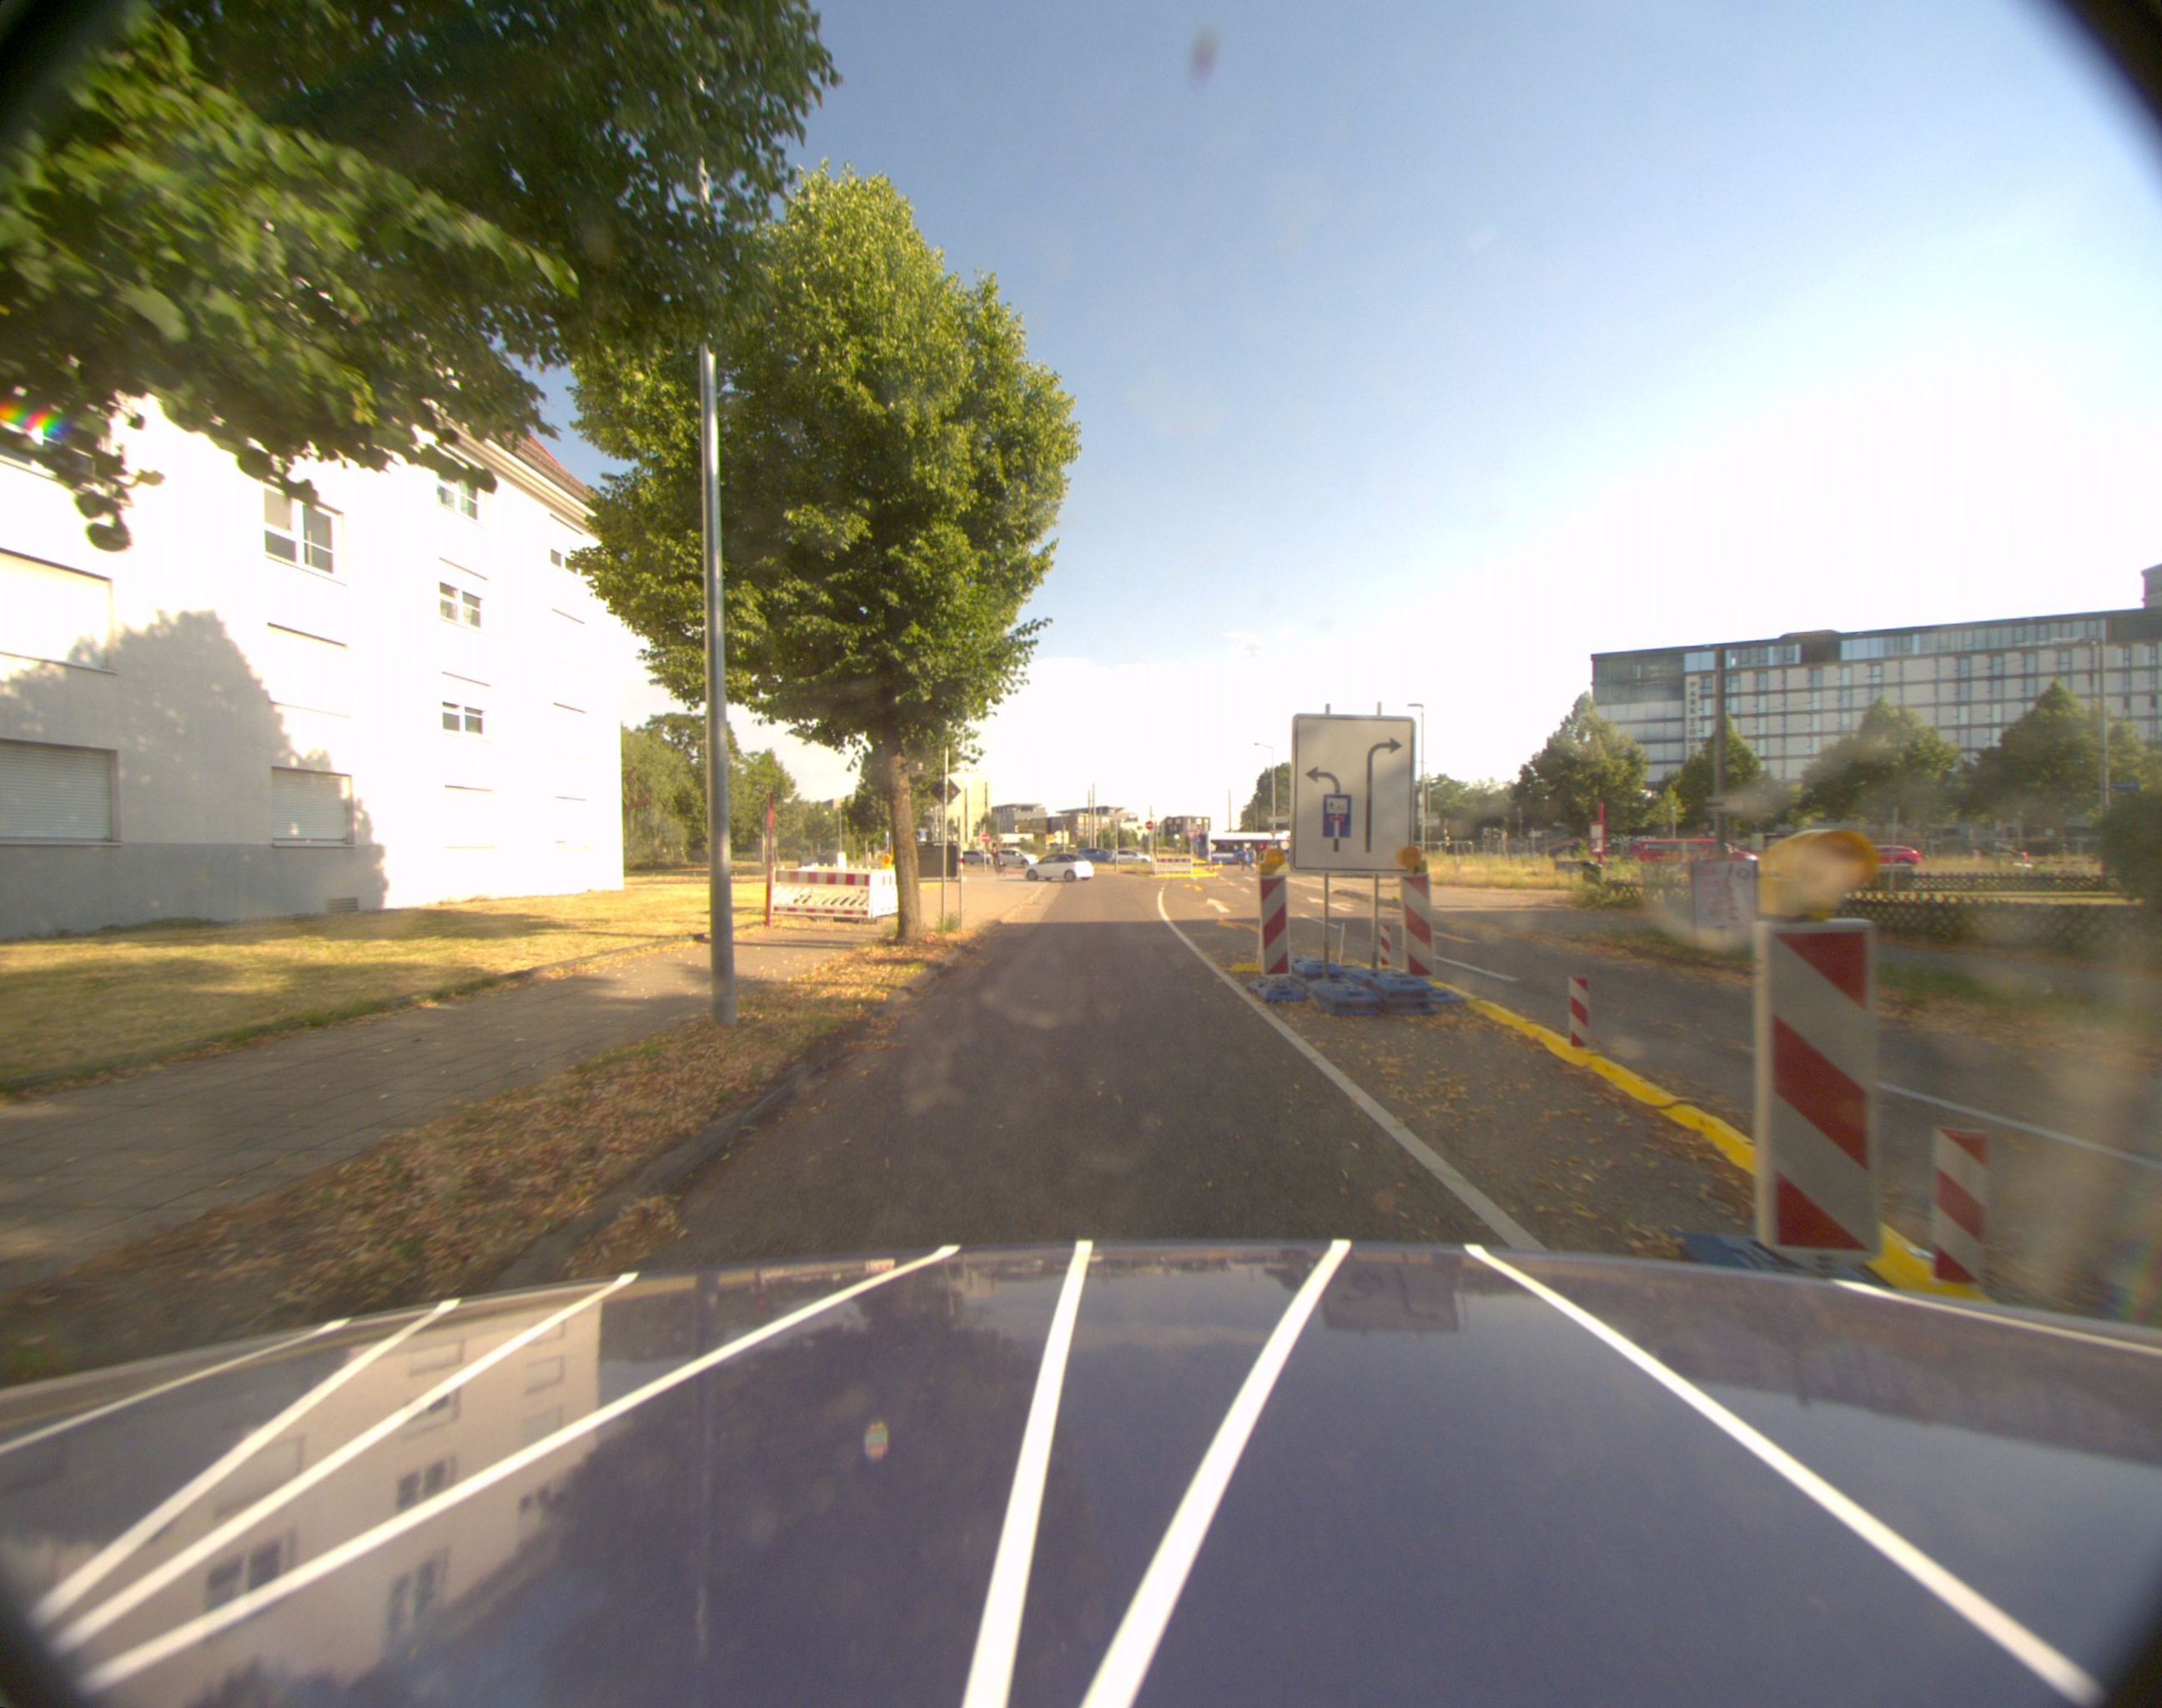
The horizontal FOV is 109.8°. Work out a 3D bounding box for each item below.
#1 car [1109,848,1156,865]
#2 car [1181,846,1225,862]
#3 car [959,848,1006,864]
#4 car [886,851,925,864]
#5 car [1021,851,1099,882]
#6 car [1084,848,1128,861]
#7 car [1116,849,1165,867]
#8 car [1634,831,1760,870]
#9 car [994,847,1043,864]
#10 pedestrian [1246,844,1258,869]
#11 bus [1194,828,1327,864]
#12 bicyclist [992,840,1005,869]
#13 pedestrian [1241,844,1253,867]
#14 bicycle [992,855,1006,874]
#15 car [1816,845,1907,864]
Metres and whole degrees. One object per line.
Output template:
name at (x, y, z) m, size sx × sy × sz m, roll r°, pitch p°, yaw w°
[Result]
car at (4.561, 0.193, 67.853) m, size 3.998 × 1.477 × 1.842 m, roll 0°, pitch 1°, yaw -3°
car at (12.103, -0.012, 75.491) m, size 4.003 × 1.521 × 1.775 m, roll 0°, pitch 1°, yaw -17°
car at (-9.707, 0.218, 74.637) m, size 4.255 × 1.521 × 2.004 m, roll 0°, pitch 1°, yaw 31°
car at (-18.749, 0.370, 80.992) m, size 2.099 × 1.376 × 4.576 m, roll -2°, pitch 1°, yaw -42°
car at (-1.114, 0.654, 40.027) m, size 3.615 × 1.413 × 1.767 m, roll -3°, pitch 0°, yaw 30°
car at (2.380, 0.077, 71.534) m, size 3.995 × 1.171 × 1.645 m, roll 0°, pitch 1°, yaw 5°
car at (5.006, 0.311, 64.477) m, size 3.997 × 1.515 × 2.000 m, roll 0°, pitch 1°, yaw 0°
car at (33.810, -0.210, 41.889) m, size 5.297 × 2.002 × 2.004 m, roll 0°, pitch 1°, yaw 39°
car at (-5.636, 0.146, 68.635) m, size 4.040 × 1.542 × 1.914 m, roll 0°, pitch 1°, yaw 16°
pedestrian at (12.412, 0.175, 55.071) m, size 0.771 × 1.765 × 0.760 m, roll 0°, pitch 1°, yaw 7°
bus at (16.574, -0.792, 70.027) m, size 12.186 × 3.044 × 2.662 m, roll -1°, pitch 1°, yaw -16°
bicyclist at (-5.167, 0.028, 47.758) m, size 0.728 × 1.790 × 0.937 m, roll -1°, pitch 1°, yaw -11°
pedestrian at (12.223, 0.128, 55.983) m, size 0.811 × 1.699 × 0.786 m, roll 0°, pitch 1°, yaw 9°
bicycle at (-5.147, 0.660, 47.730) m, size 0.641 × 1.116 × 2.122 m, roll -1°, pitch 1°, yaw -12°
car at (50.447, 0.022, 49.184) m, size 3.926 × 1.159 × 1.333 m, roll 0°, pitch 1°, yaw 22°
